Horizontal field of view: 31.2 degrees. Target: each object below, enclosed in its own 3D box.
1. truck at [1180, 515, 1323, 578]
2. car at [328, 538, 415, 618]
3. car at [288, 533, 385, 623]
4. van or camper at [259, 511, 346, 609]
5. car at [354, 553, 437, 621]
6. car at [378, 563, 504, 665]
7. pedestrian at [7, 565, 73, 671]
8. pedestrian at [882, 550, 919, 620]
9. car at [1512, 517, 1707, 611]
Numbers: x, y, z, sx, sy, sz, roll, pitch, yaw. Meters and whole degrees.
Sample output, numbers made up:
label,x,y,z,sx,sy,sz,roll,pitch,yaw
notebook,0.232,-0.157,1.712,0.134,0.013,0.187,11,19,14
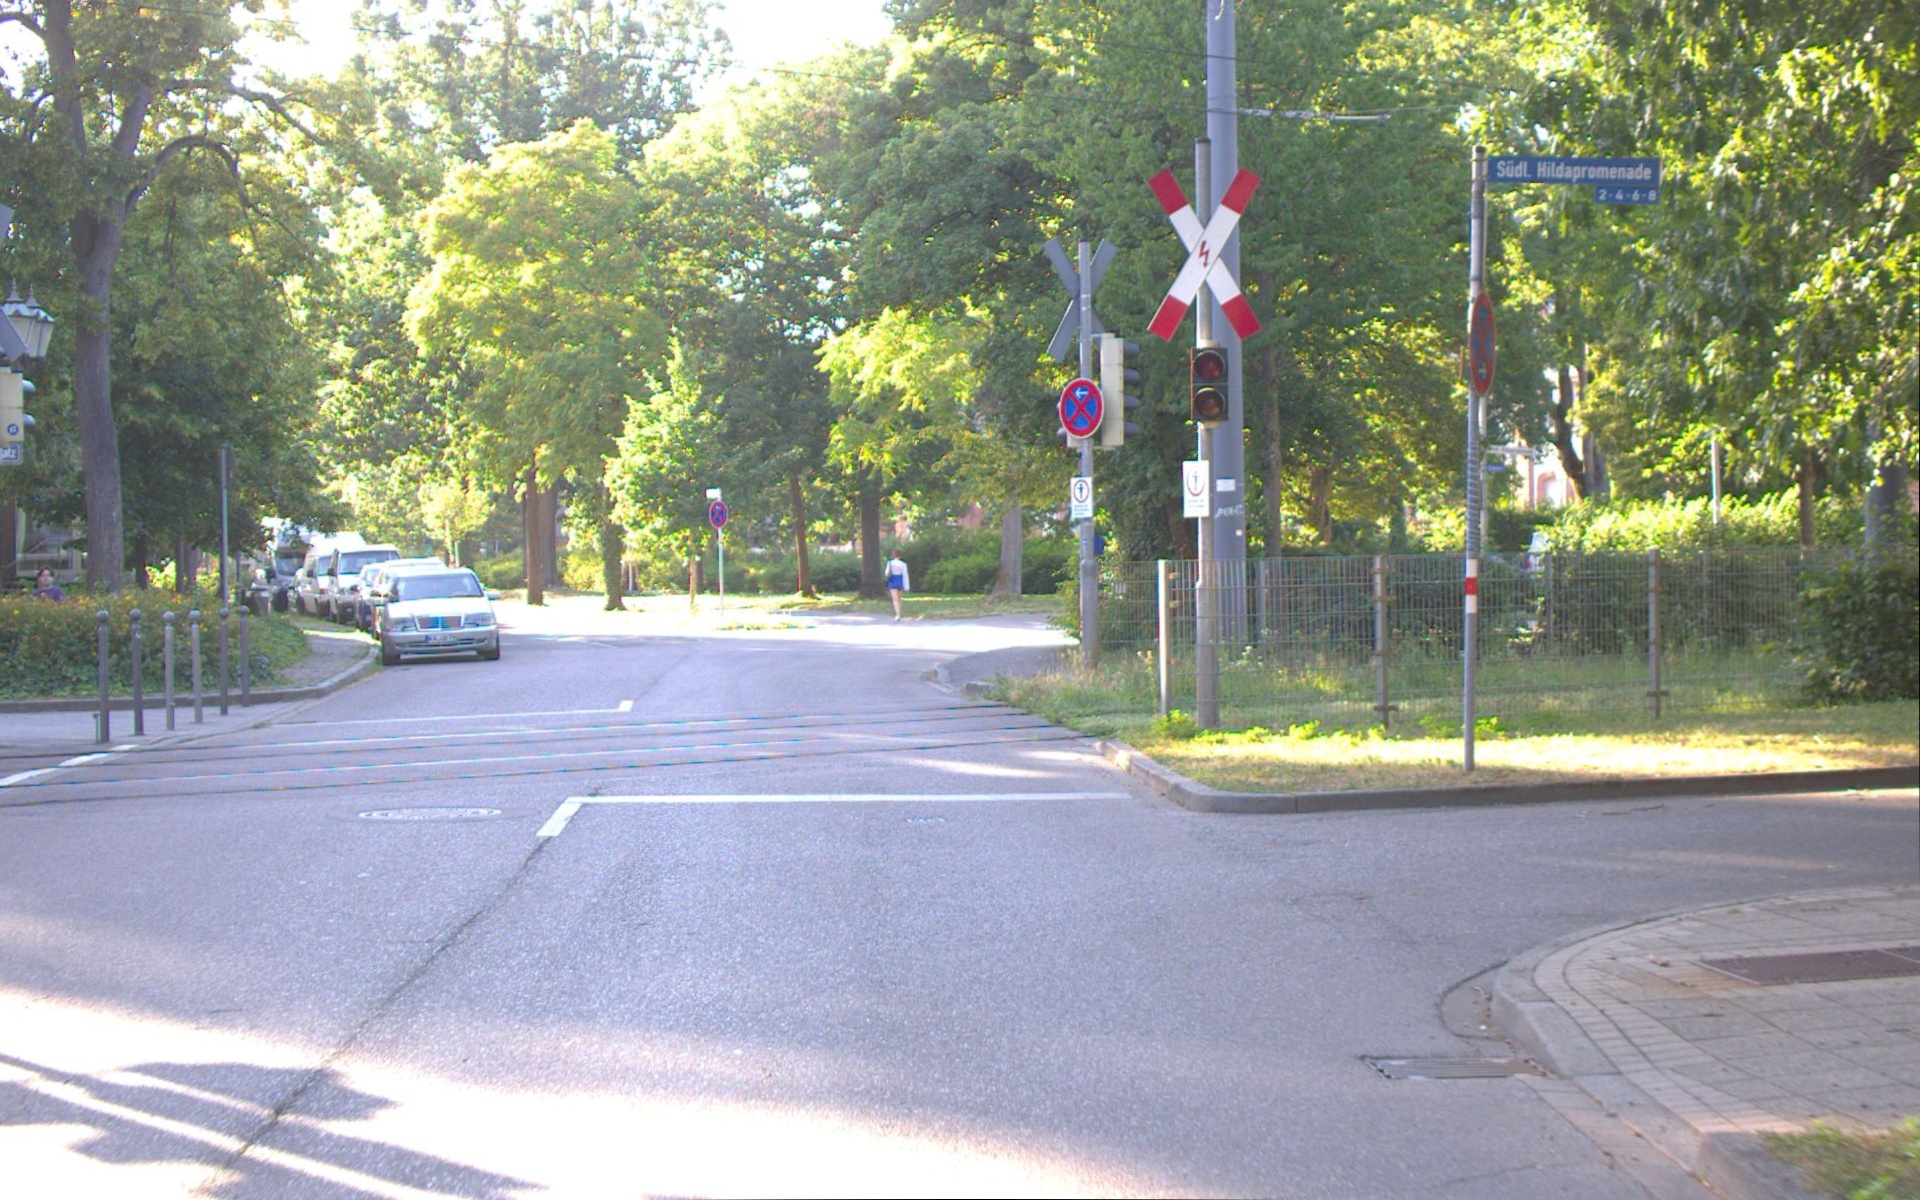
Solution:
label,x,y,z,sx,sy,sz,roll,pitch,yaw
truck,14.162,-2.589,167.613,2.604,3.019,8.008,-1,1,-33
car,-14.810,-0.581,86.329,1.850,1.939,4.842,-1,1,-13
car,-16.990,-0.613,93.468,1.850,2.348,5.188,-1,1,-18
van or camper,-20.238,-1.227,105.613,2.089,2.898,6.334,-1,1,-16
car,-12.850,-0.319,78.152,1.615,1.496,3.698,-1,1,-13
car,-8.035,0.181,53.174,1.779,1.411,4.499,-3,1,-9
pedestrian,-11.541,0.221,43.134,0.551,1.293,0.765,-1,1,5
pedestrian,-1.333,-0.343,77.327,0.773,1.569,0.768,-1,1,-3
car,14.404,-0.811,76.064,1.957,2.007,5.141,0,1,40
